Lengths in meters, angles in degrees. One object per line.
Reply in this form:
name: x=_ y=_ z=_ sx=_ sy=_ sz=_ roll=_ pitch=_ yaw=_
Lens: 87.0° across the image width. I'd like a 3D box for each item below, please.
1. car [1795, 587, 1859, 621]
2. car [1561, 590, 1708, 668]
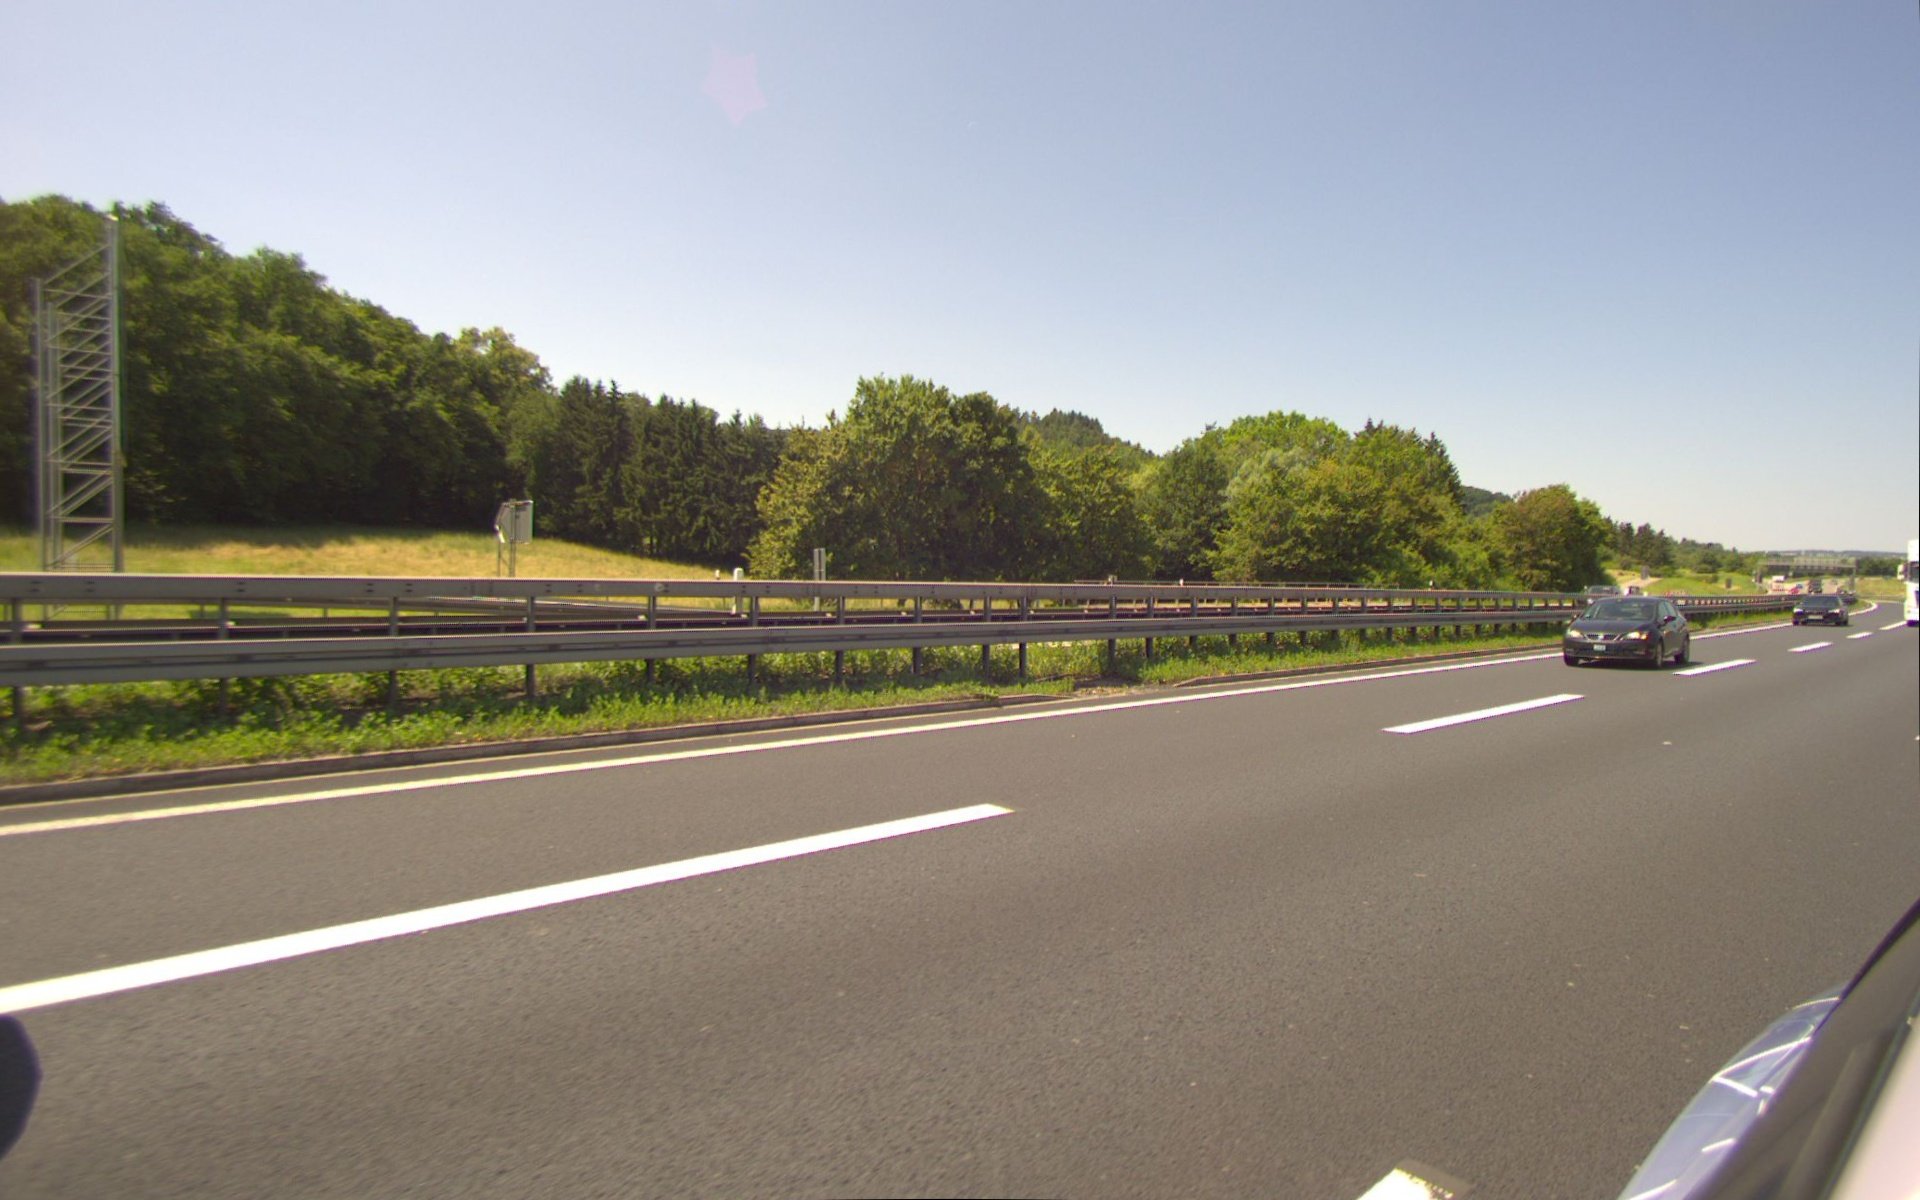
car: x=40.259 y=0.168 z=46.969 sx=3.803 sy=1.491 sz=1.889 roll=-1 pitch=2 yaw=-43
car: x=14.079 y=0.529 z=21.060 sx=3.699 sy=1.417 sz=1.778 roll=-1 pitch=2 yaw=-44
